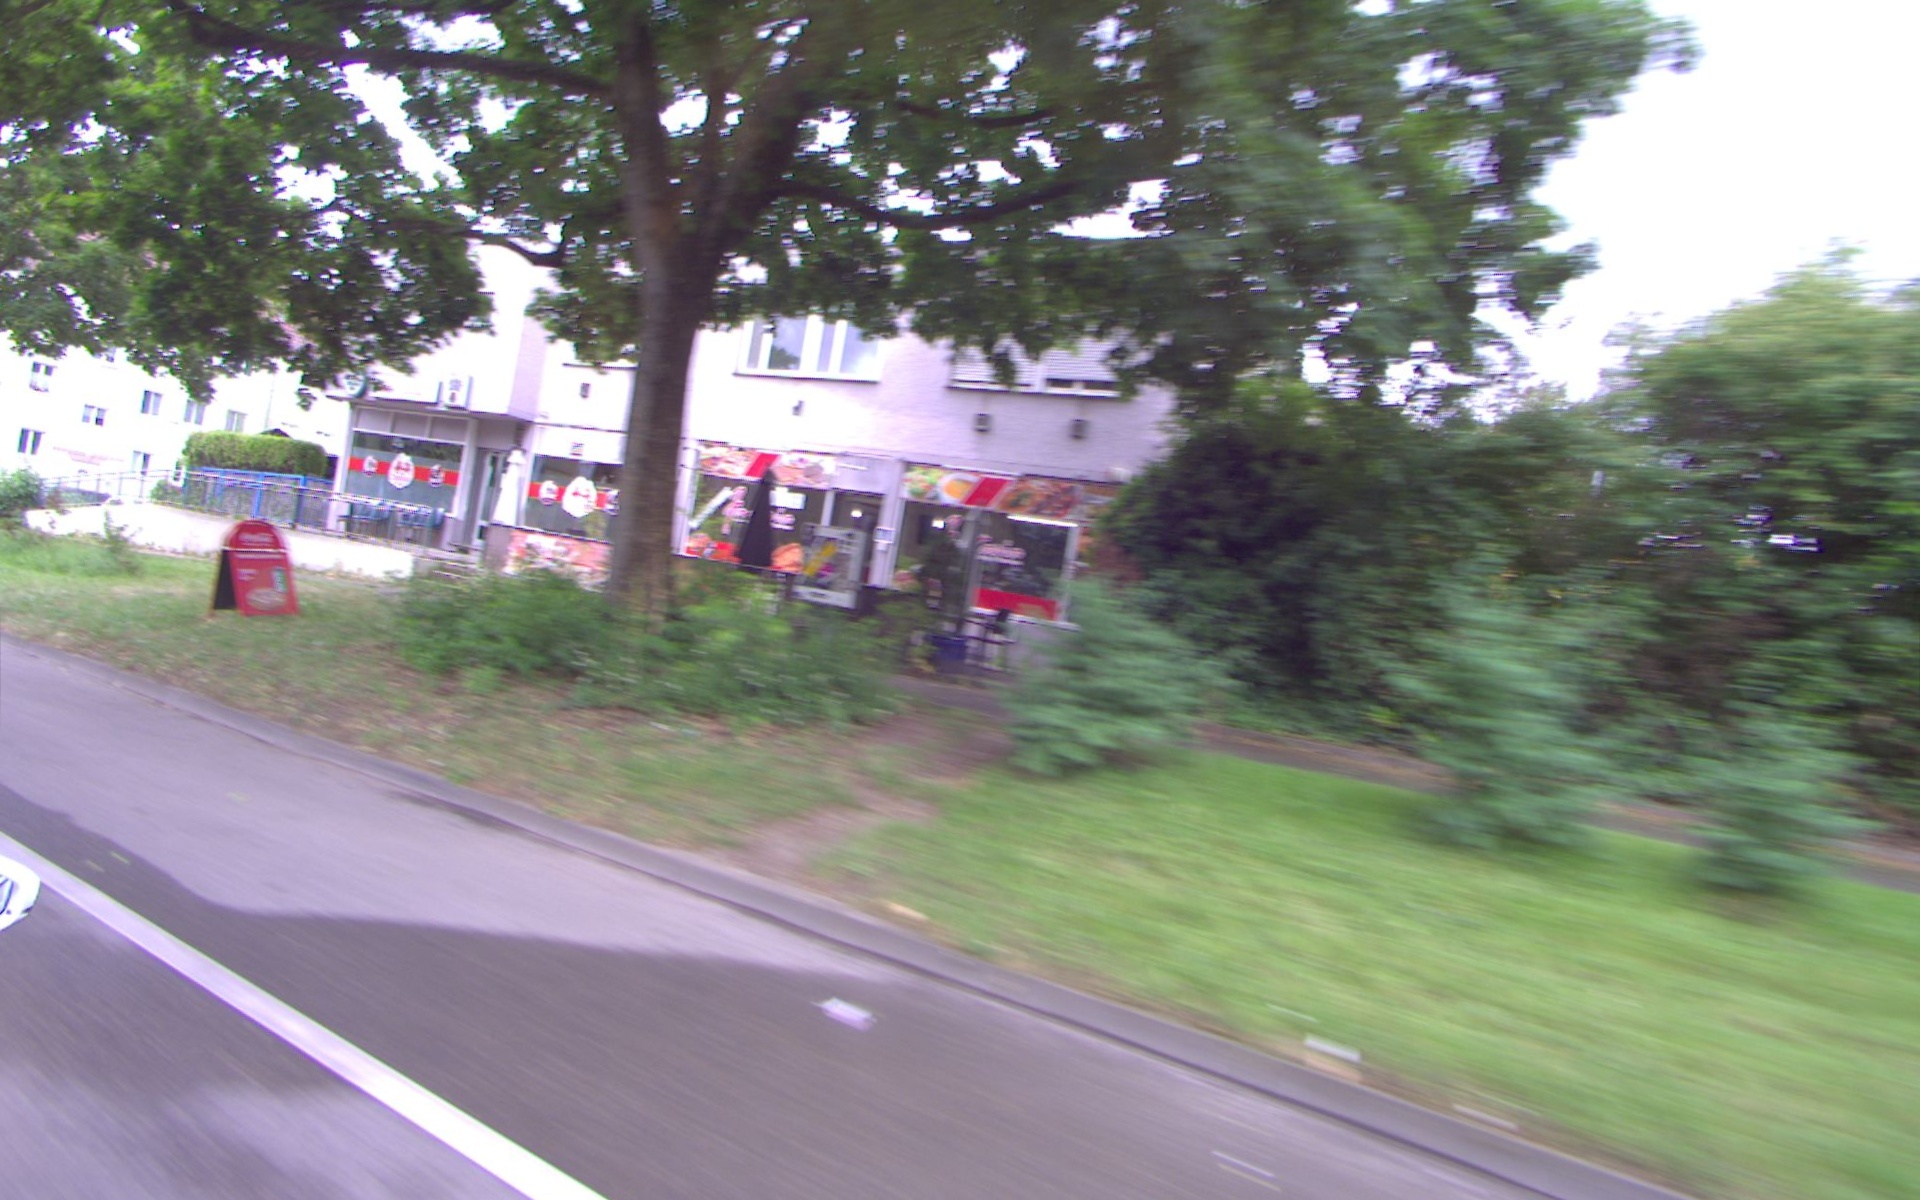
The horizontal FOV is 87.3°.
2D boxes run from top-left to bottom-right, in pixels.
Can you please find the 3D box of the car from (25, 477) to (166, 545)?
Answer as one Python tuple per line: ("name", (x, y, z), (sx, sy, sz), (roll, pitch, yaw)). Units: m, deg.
("car", (-27.582, -2.833, 32.104), (3.929, 1.489, 1.876), (8, -2, 26))
